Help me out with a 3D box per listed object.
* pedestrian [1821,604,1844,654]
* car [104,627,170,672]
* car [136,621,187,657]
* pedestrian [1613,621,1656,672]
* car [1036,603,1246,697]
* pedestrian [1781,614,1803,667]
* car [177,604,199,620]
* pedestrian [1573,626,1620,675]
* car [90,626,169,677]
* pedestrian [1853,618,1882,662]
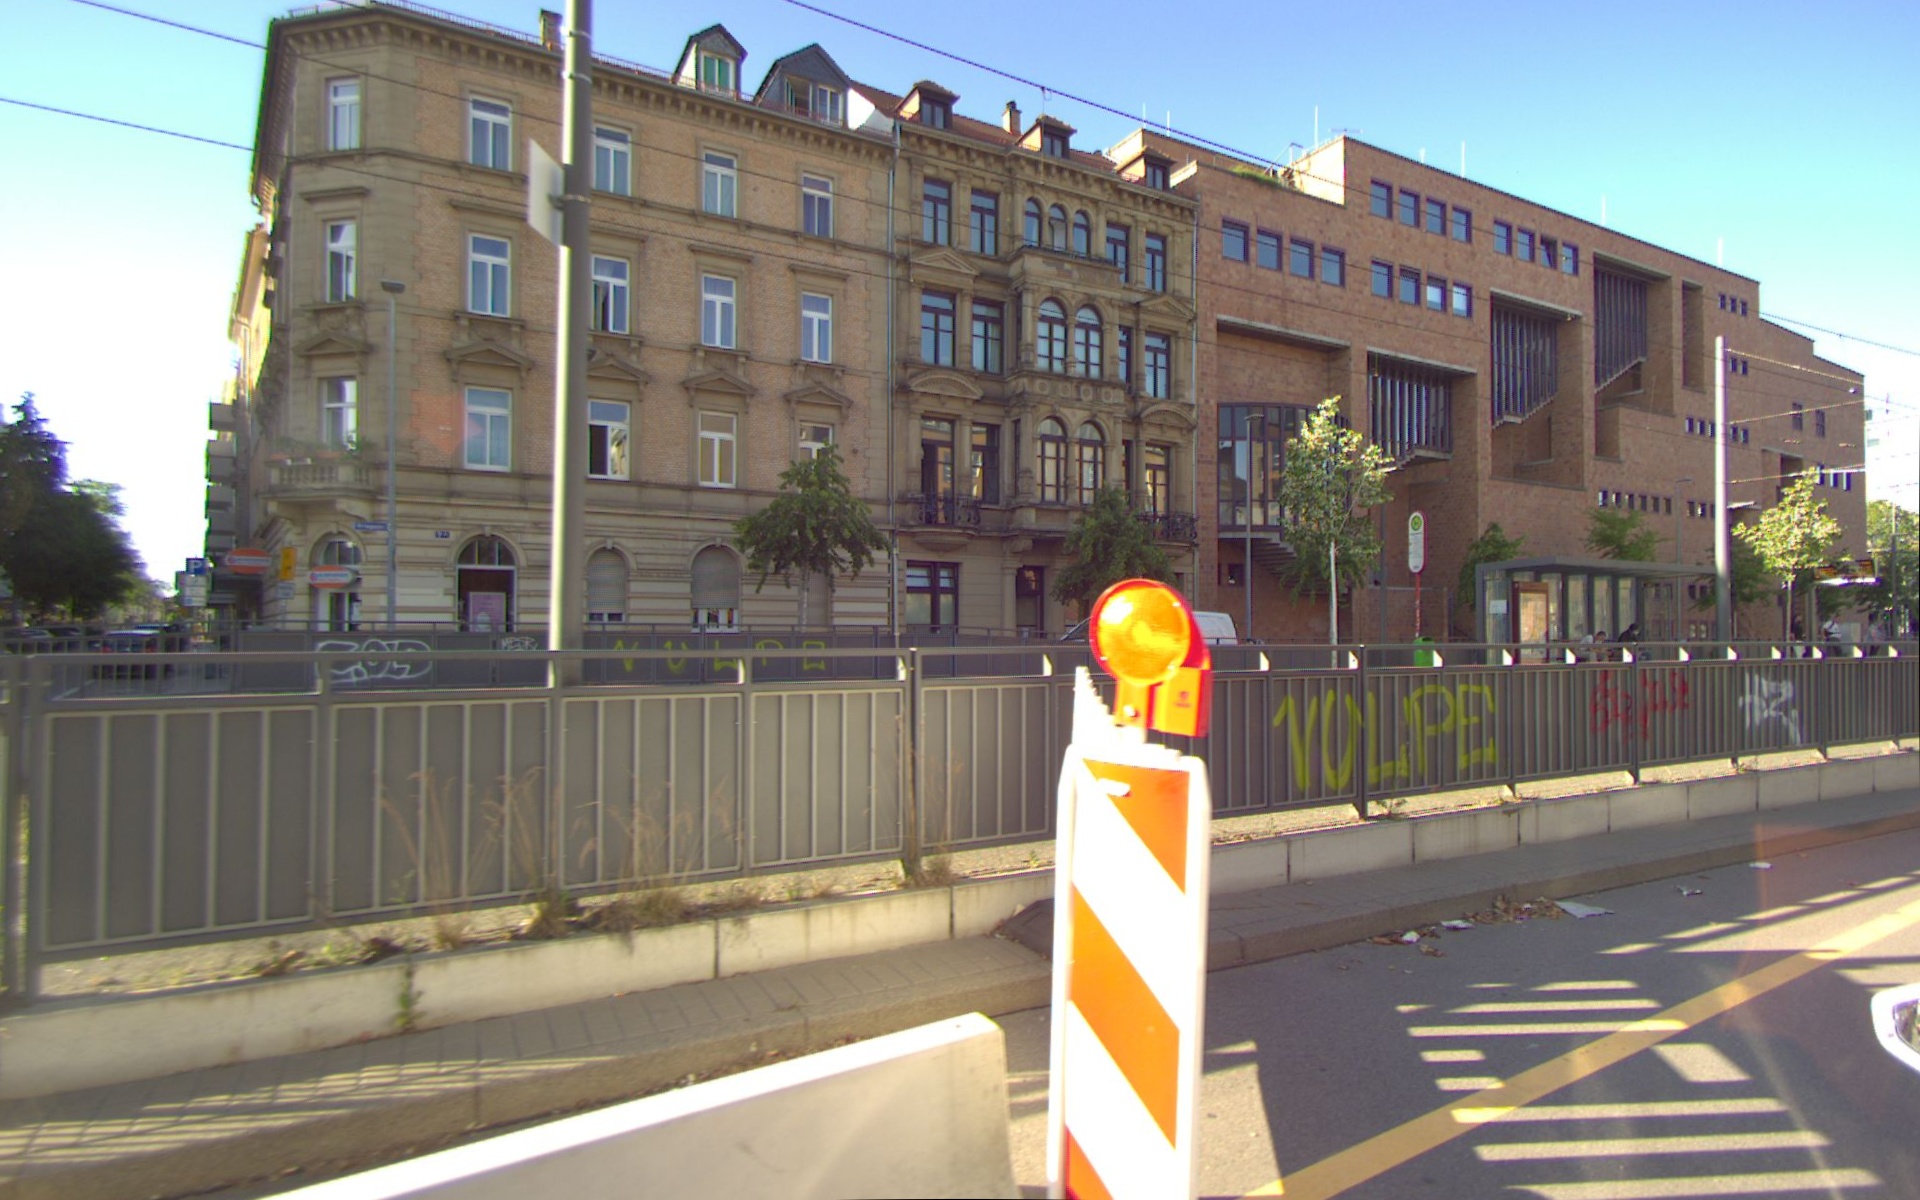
[{"bbox_3d":[28.953,0.964,33.332,0.546,1.643,0.376,1,1,-28],"label":"pedestrian"},{"bbox_3d":[-30.065,1.786,36.769,1.722,1.539,3.751,2,-2,-38],"label":"car"},{"bbox_3d":[-35.809,1.711,45.096,1.722,1.539,3.751,2,-2,-38],"label":"car"},{"bbox_3d":[17.584,1.214,26.196,0.713,1.326,0.643,1,-3,-29],"label":"pedestrian"},{"bbox_3d":[4.138,1.063,22.759,4.533,1.905,1.982,1,0,-32],"label":"car"},{"bbox_3d":[26.665,1.302,32.190,0.411,1.670,0.376,1,1,-28],"label":"pedestrian"},{"bbox_3d":[-78.465,1.244,102.081,1.722,1.539,3.751,2,-2,-38],"label":"car"},{"bbox_3d":[15.892,1.260,25.086,0.713,1.183,0.718,1,-3,-28],"label":"pedestrian"},{"bbox_3d":[-26.823,1.619,32.535,1.811,1.539,3.957,2,-2,-38],"label":"car"},{"bbox_3d":[31.381,1.374,34.751,0.634,1.479,0.537,1,1,-28],"label":"pedestrian"}]
